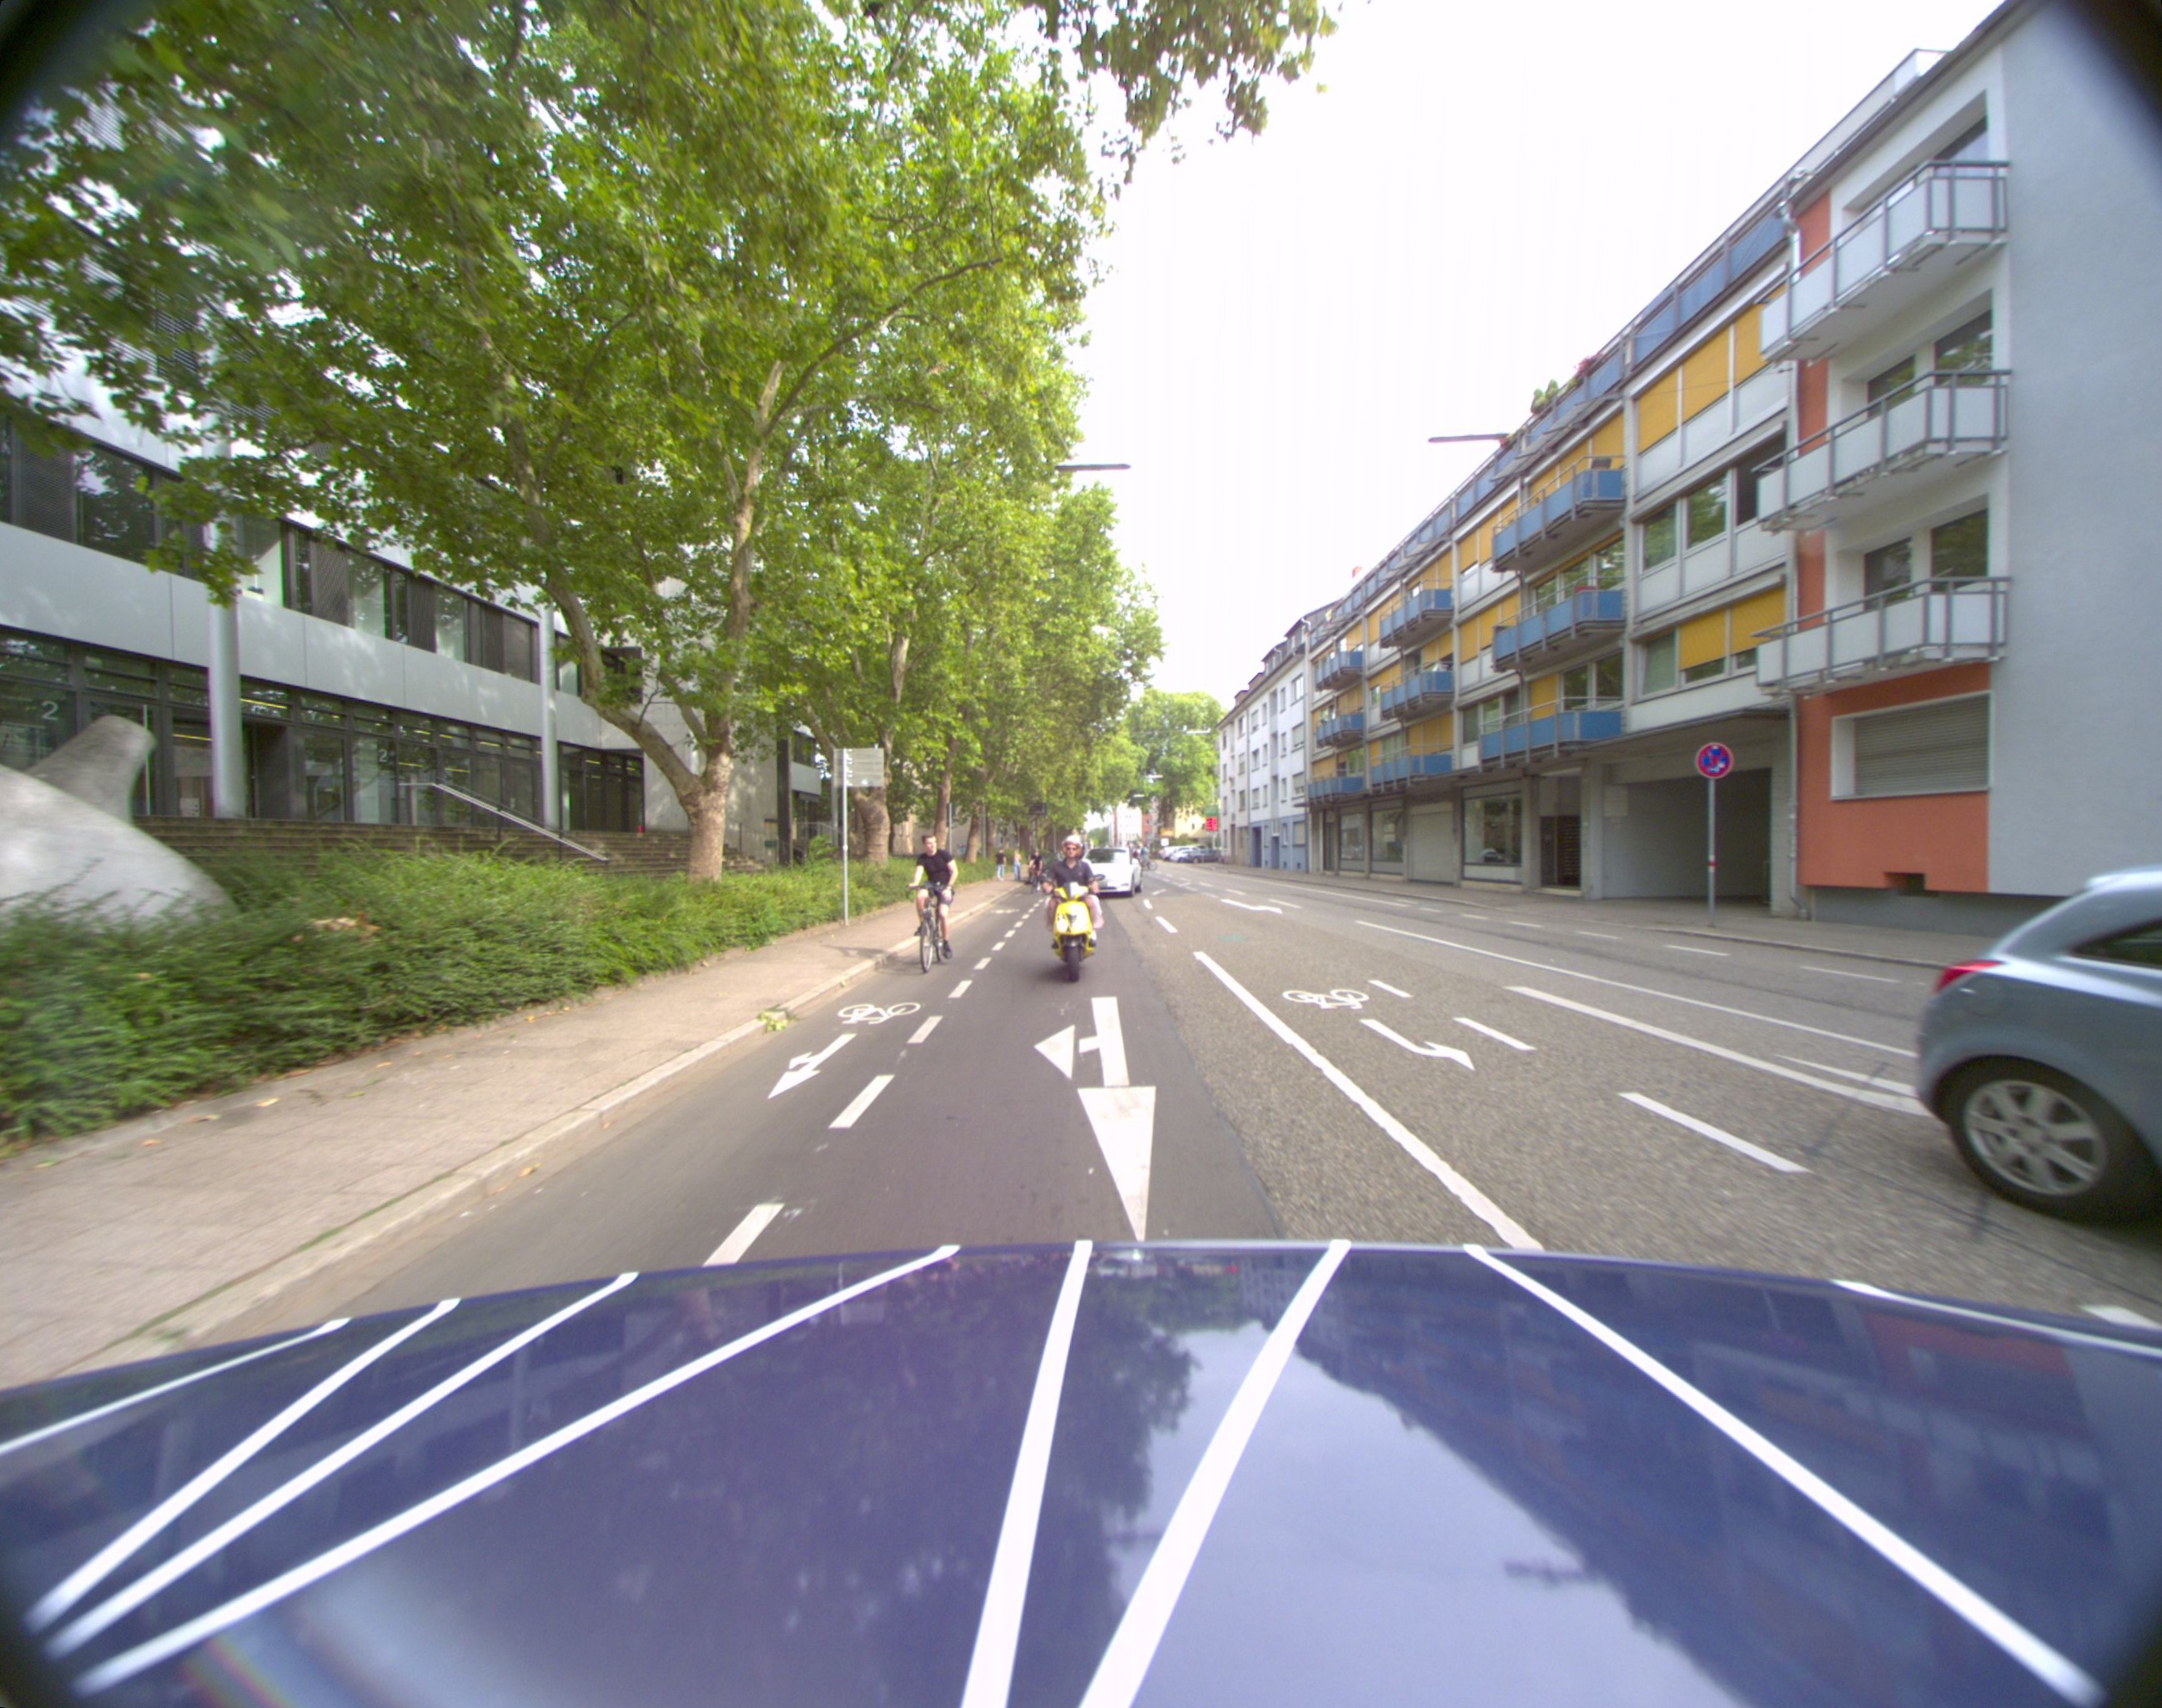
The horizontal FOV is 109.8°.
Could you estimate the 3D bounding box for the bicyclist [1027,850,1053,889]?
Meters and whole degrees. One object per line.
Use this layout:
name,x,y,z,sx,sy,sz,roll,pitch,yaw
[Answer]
bicyclist,-1.578,0.589,29.357,0.784,1.438,0.914,-2,1,8

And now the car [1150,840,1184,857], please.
car,11.083,-0.745,98.161,3.997,2.002,2.000,-3,1,0

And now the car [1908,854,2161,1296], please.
car,4.384,0.742,1.343,1.673,1.430,3.819,-1,1,0

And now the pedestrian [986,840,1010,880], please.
pedestrian,-4.332,0.296,39.685,1.003,2.002,0.997,-3,1,2

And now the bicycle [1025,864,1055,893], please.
bicycle,-1.568,0.932,29.373,0.770,1.009,2.408,-2,1,6

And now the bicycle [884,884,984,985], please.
bicycle,-1.958,1.049,10.469,0.772,1.124,2.004,-3,1,5

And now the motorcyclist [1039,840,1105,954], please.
motorcyclist,-0.108,0.546,9.990,0.781,1.419,0.689,-2,0,3

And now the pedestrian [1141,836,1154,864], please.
pedestrian,4.815,-0.277,55.264,0.842,2.002,0.875,-2,1,5

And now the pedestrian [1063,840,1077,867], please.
pedestrian,-0.804,-0.044,56.937,0.842,2.002,0.875,-2,1,5

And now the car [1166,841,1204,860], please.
car,12.125,-0.439,88.806,3.997,2.002,2.000,-3,1,0

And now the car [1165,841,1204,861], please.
car,11.697,-0.343,86.143,3.997,2.002,2.000,-3,1,0

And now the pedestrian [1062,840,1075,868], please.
pedestrian,-0.914,-0.022,55.534,0.842,2.002,0.875,-2,1,5

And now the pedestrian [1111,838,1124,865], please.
pedestrian,2.787,-0.215,57.772,0.842,2.002,0.875,-2,1,5

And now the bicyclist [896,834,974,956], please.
bicyclist,-1.989,0.546,10.468,0.772,1.574,0.801,-3,1,4

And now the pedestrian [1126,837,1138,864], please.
pedestrian,3.954,-0.282,58.908,0.842,2.002,0.875,-2,1,5

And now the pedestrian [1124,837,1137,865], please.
pedestrian,3.582,-0.219,55.073,0.842,2.002,0.875,-2,1,5

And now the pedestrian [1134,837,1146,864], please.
pedestrian,4.432,-0.282,57.141,0.842,2.002,0.875,-2,1,5

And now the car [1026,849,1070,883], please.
car,-1.643,0.586,38.964,1.999,1.533,4.270,-3,1,0

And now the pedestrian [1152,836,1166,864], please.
pedestrian,5.681,-0.317,55.368,0.842,2.002,0.875,-2,1,5

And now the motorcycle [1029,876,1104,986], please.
motorcycle,-0.132,0.898,9.534,0.781,1.171,1.993,-2,0,3

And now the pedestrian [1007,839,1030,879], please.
pedestrian,-3.259,0.241,39.528,1.003,2.002,0.997,-3,1,2

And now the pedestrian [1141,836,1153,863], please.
pedestrian,4.995,-0.313,57.590,0.842,2.002,0.875,-2,1,5

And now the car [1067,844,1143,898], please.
car,0.910,0.490,25.214,1.997,1.543,4.523,-2,1,8

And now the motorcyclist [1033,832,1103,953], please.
motorcyclist,-0.143,0.465,9.478,0.781,1.419,0.764,-2,0,3

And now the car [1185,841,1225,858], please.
car,13.294,-0.504,81.531,3.870,1.678,1.882,-3,1,0

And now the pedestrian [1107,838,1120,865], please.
pedestrian,2.499,-0.212,58.599,0.842,2.002,0.875,-2,1,5
